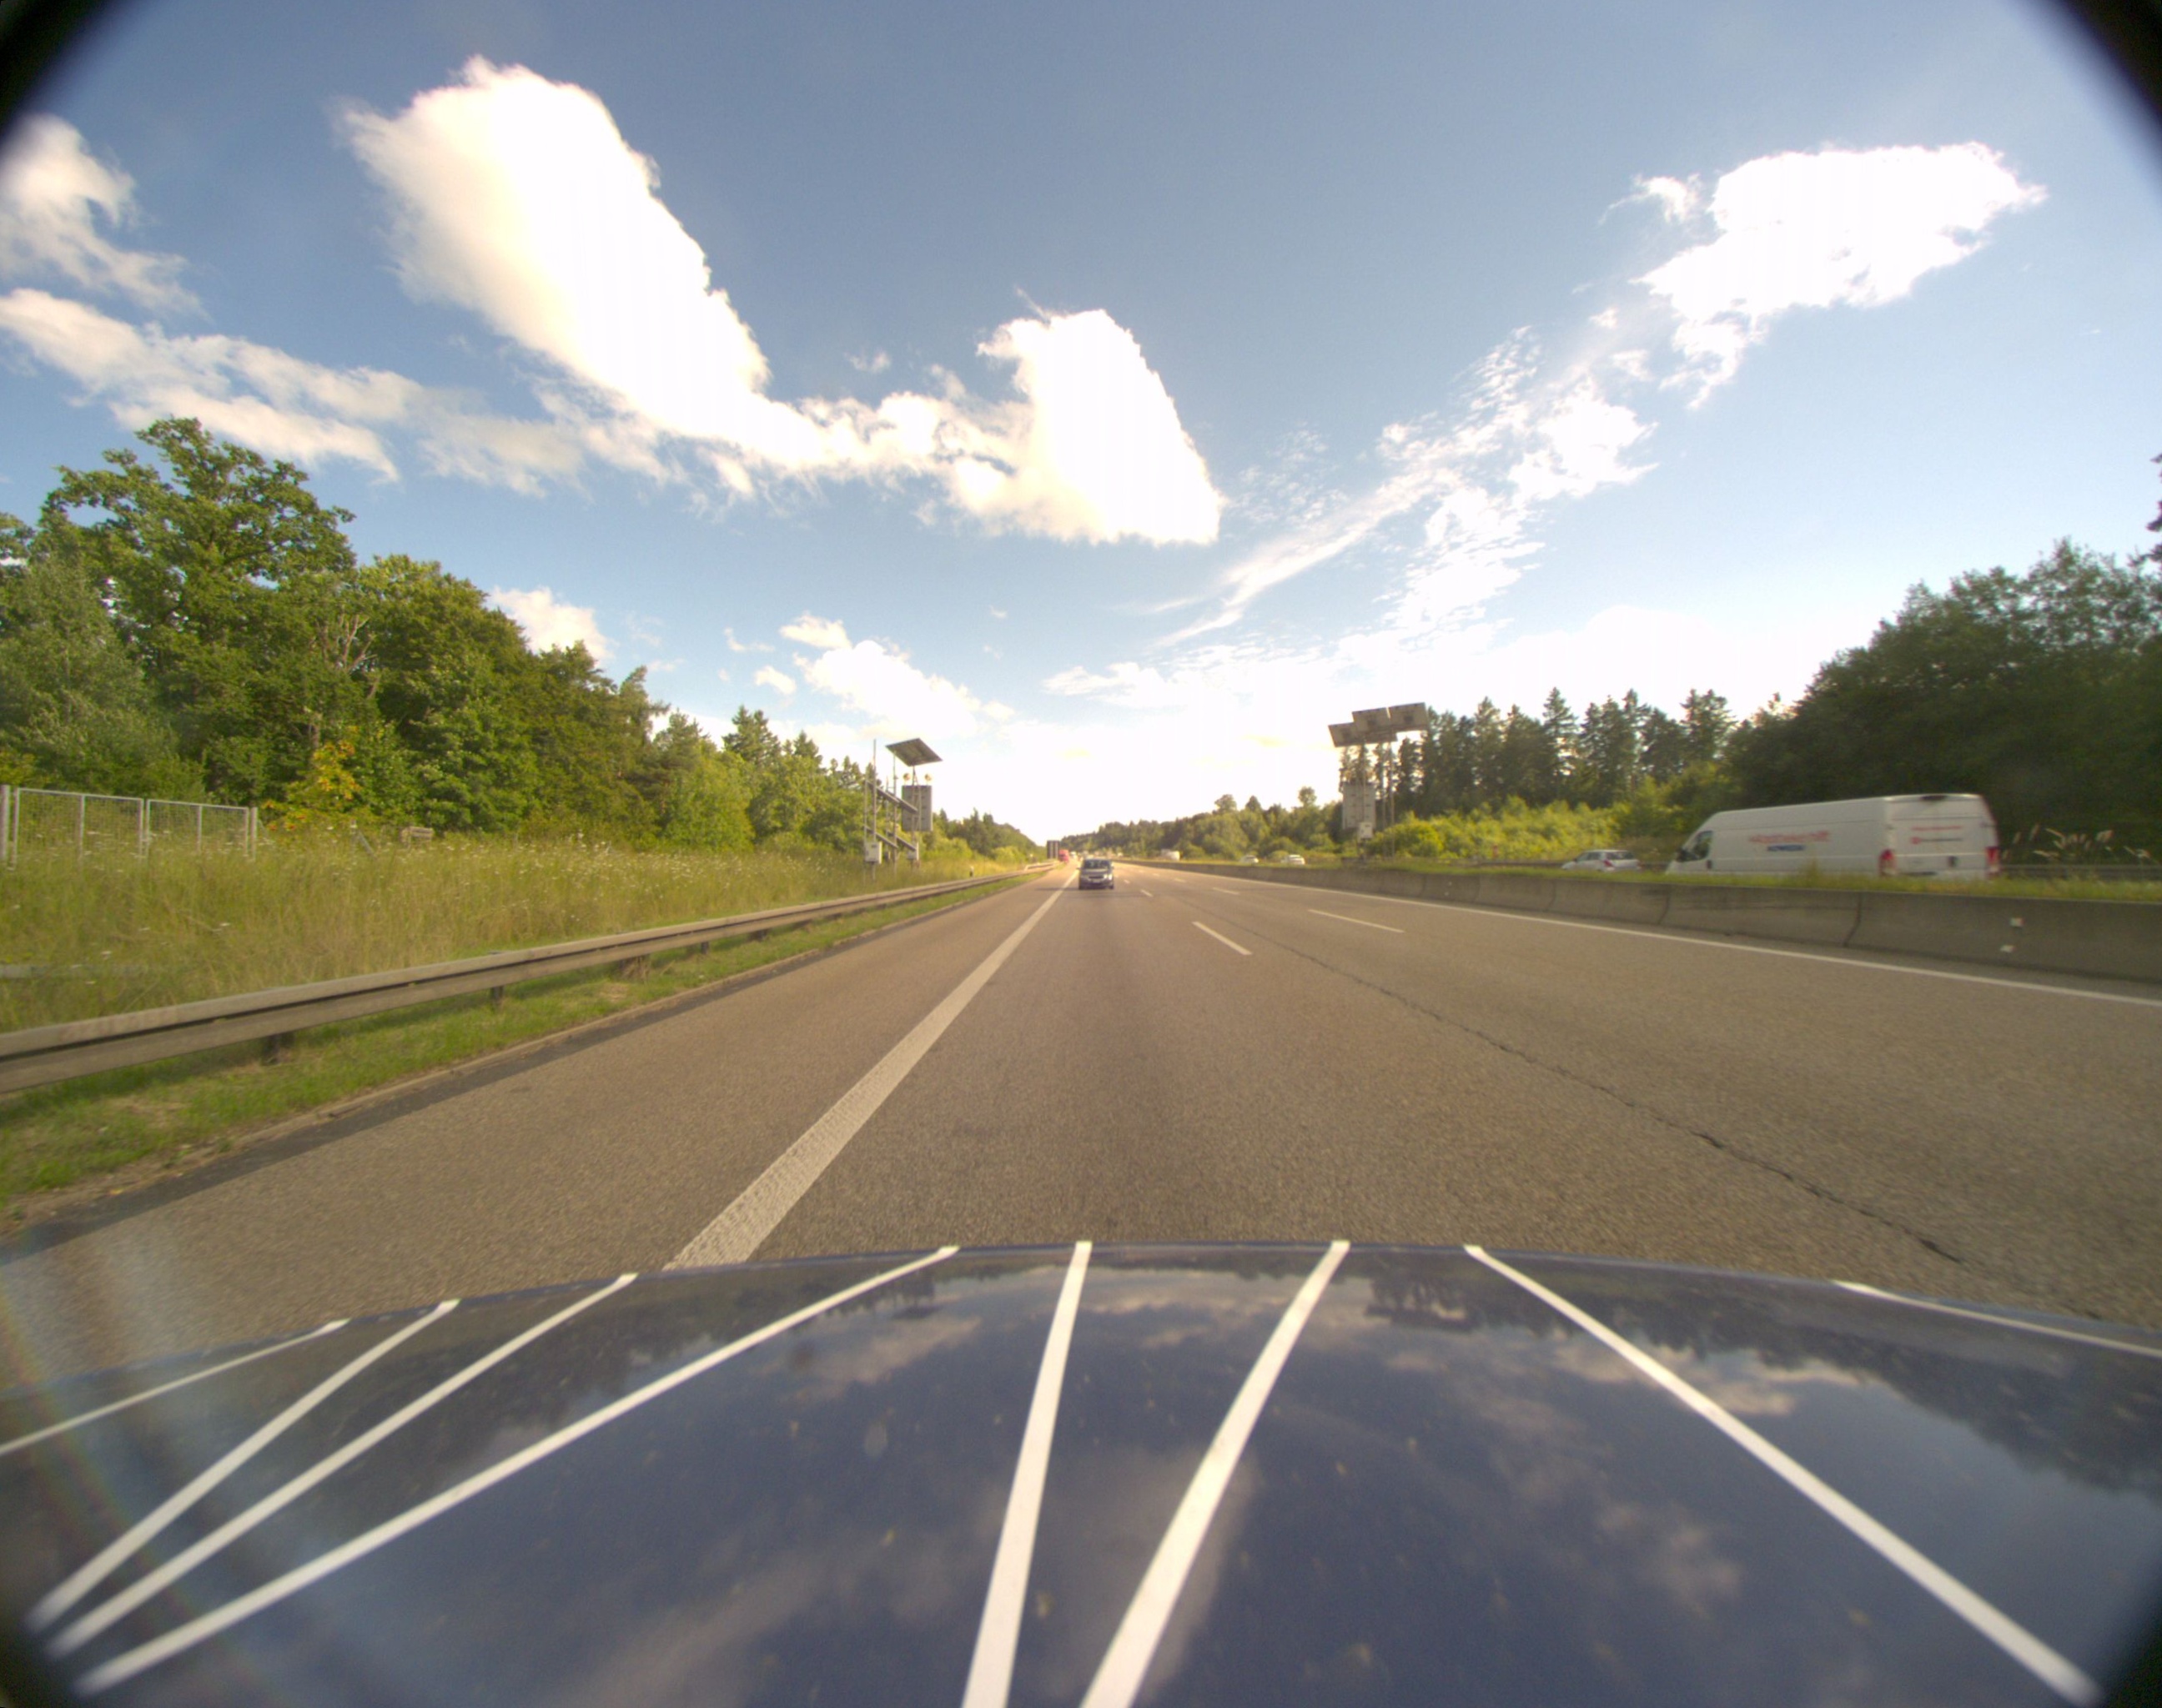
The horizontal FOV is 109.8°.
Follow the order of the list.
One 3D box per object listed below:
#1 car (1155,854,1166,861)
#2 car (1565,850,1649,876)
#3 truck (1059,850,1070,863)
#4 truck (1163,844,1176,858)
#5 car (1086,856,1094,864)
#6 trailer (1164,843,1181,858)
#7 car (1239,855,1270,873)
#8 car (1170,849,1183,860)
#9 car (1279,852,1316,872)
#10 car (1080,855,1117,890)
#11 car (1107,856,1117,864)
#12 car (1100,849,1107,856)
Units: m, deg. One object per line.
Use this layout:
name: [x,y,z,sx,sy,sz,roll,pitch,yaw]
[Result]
car: [17.563,0.781,167.809,1.998,1.444,4.000,-1,0,1]
car: [23.648,0.397,34.282,1.595,1.087,3.173,-1,0,1]
truck: [-4.922,0.711,228.941,2.880,3.871,8.959,-2,0,1]
truck: [25.183,-0.873,216.648,3.122,3.815,7.123,-1,0,1]
car: [2.384,1.599,202.346,1.998,2.124,4.000,-1,0,1]
trailer: [25.071,-0.860,208.873,3.132,3.815,12.209,-1,0,1]
car: [21.609,1.213,95.119,2.585,2.126,5.966,-1,0,1]
car: [21.597,0.130,172.361,2.114,2.299,6.724,-1,0,1]
car: [24.996,0.893,87.994,2.585,2.126,5.966,-1,0,1]
car: [0.881,0.902,38.699,1.742,1.608,4.083,-1,0,1]
car: [5.556,1.050,137.820,1.749,1.276,4.199,-1,0,1]
car: [6.476,-0.478,222.205,1.998,2.002,4.000,-1,0,0]
